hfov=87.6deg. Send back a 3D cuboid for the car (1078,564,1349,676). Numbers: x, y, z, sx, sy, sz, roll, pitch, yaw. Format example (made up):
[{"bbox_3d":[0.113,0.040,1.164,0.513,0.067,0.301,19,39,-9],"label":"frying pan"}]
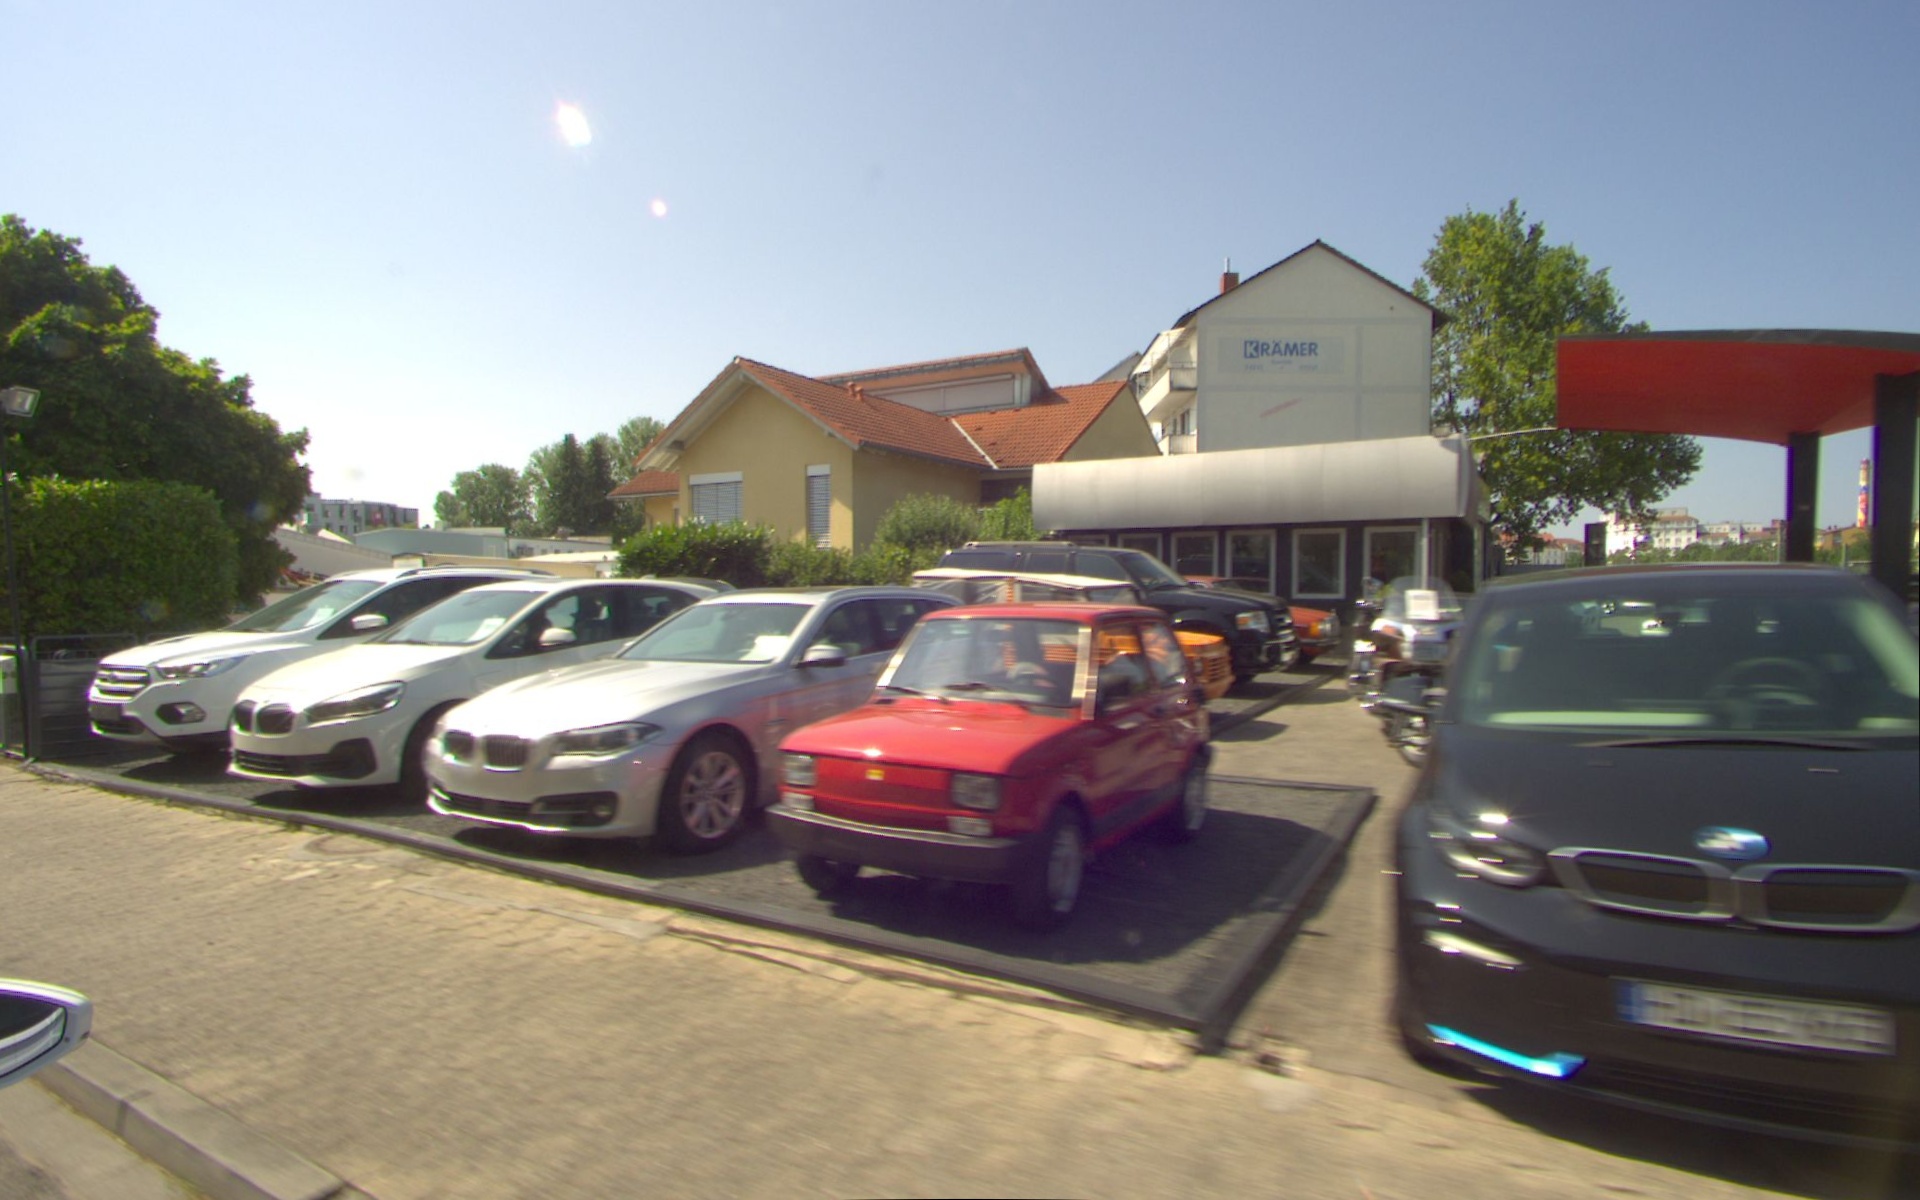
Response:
[{"bbox_3d":[4.117,0.289,16.217,3.936,1.617,1.992,-1,1,26],"label":"car"}]

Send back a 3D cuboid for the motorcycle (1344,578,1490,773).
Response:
[{"bbox_3d":[3.951,0.550,8.884,0.993,1.452,2.684,0,1,21],"label":"motorcycle"}]

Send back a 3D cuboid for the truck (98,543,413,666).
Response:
[{"bbox_3d":[-23.517,0.119,34.026,2.912,3.659,8.253,0,0,34],"label":"truck"}]

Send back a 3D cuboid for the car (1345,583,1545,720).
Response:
[{"bbox_3d":[5.996,0.504,12.601,1.917,1.336,4.114,0,2,24],"label":"car"}]

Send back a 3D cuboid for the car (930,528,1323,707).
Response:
[{"bbox_3d":[2.193,0.204,13.438,4.830,2.041,1.992,-1,1,27],"label":"car"}]

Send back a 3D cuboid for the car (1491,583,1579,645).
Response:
[{"bbox_3d":[14.180,0.285,24.731,1.731,1.399,3.472,2,2,30],"label":"car"}]

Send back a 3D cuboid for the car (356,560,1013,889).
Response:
[{"bbox_3d":[-1.480,0.533,7.102,1.869,1.517,4.393,-1,2,30],"label":"car"}]

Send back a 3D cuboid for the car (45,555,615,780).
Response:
[{"bbox_3d":[-5.753,0.487,9.819,1.815,1.675,4.397,0,1,29],"label":"car"}]

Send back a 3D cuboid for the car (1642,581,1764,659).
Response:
[{"bbox_3d":[15.613,0.356,21.200,1.899,1.462,4.305,0,1,35],"label":"car"}]

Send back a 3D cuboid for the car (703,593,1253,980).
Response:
[{"bbox_3d":[0.423,0.680,5.565,1.535,1.353,3.543,-1,1,30],"label":"car"}]

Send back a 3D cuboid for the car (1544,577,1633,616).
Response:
[{"bbox_3d":[28.617,-0.172,45.732,1.962,1.662,3.998,-1,0,8],"label":"car"}]

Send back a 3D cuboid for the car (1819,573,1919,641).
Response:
[{"bbox_3d":[21.945,0.141,22.239,1.699,1.499,4.033,-1,1,-29],"label":"car"}]

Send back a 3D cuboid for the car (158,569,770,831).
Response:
[{"bbox_3d":[-3.734,0.574,8.523,1.867,1.549,4.399,-1,2,26],"label":"car"}]

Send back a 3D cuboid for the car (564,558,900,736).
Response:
[{"bbox_3d":[-2.851,0.543,12.436,3.733,1.884,1.990,-1,-1,31],"label":"car"}]

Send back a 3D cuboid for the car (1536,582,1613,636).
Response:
[{"bbox_3d":[17.386,0.203,28.450,1.731,1.399,3.472,2,2,30],"label":"car"}]

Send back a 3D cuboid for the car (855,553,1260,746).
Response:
[{"bbox_3d":[1.038,0.458,10.938,3.941,1.751,1.990,0,1,31],"label":"car"}]

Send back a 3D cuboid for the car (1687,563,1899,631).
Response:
[{"bbox_3d":[22.106,-0.082,26.744,1.699,1.662,4.033,-1,1,-29],"label":"car"}]

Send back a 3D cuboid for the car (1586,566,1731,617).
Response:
[{"bbox_3d":[23.750,-0.283,34.175,1.699,1.662,3.709,-1,1,-29],"label":"car"}]

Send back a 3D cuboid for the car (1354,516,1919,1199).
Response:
[{"bbox_3d":[2.754,0.615,3.925,1.733,1.646,3.796,0,1,30],"label":"car"}]

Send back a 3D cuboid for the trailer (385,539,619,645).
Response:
[{"bbox_3d":[-18.490,-0.335,41.069,3.028,3.915,8.304,0,1,36],"label":"trailer"}]
